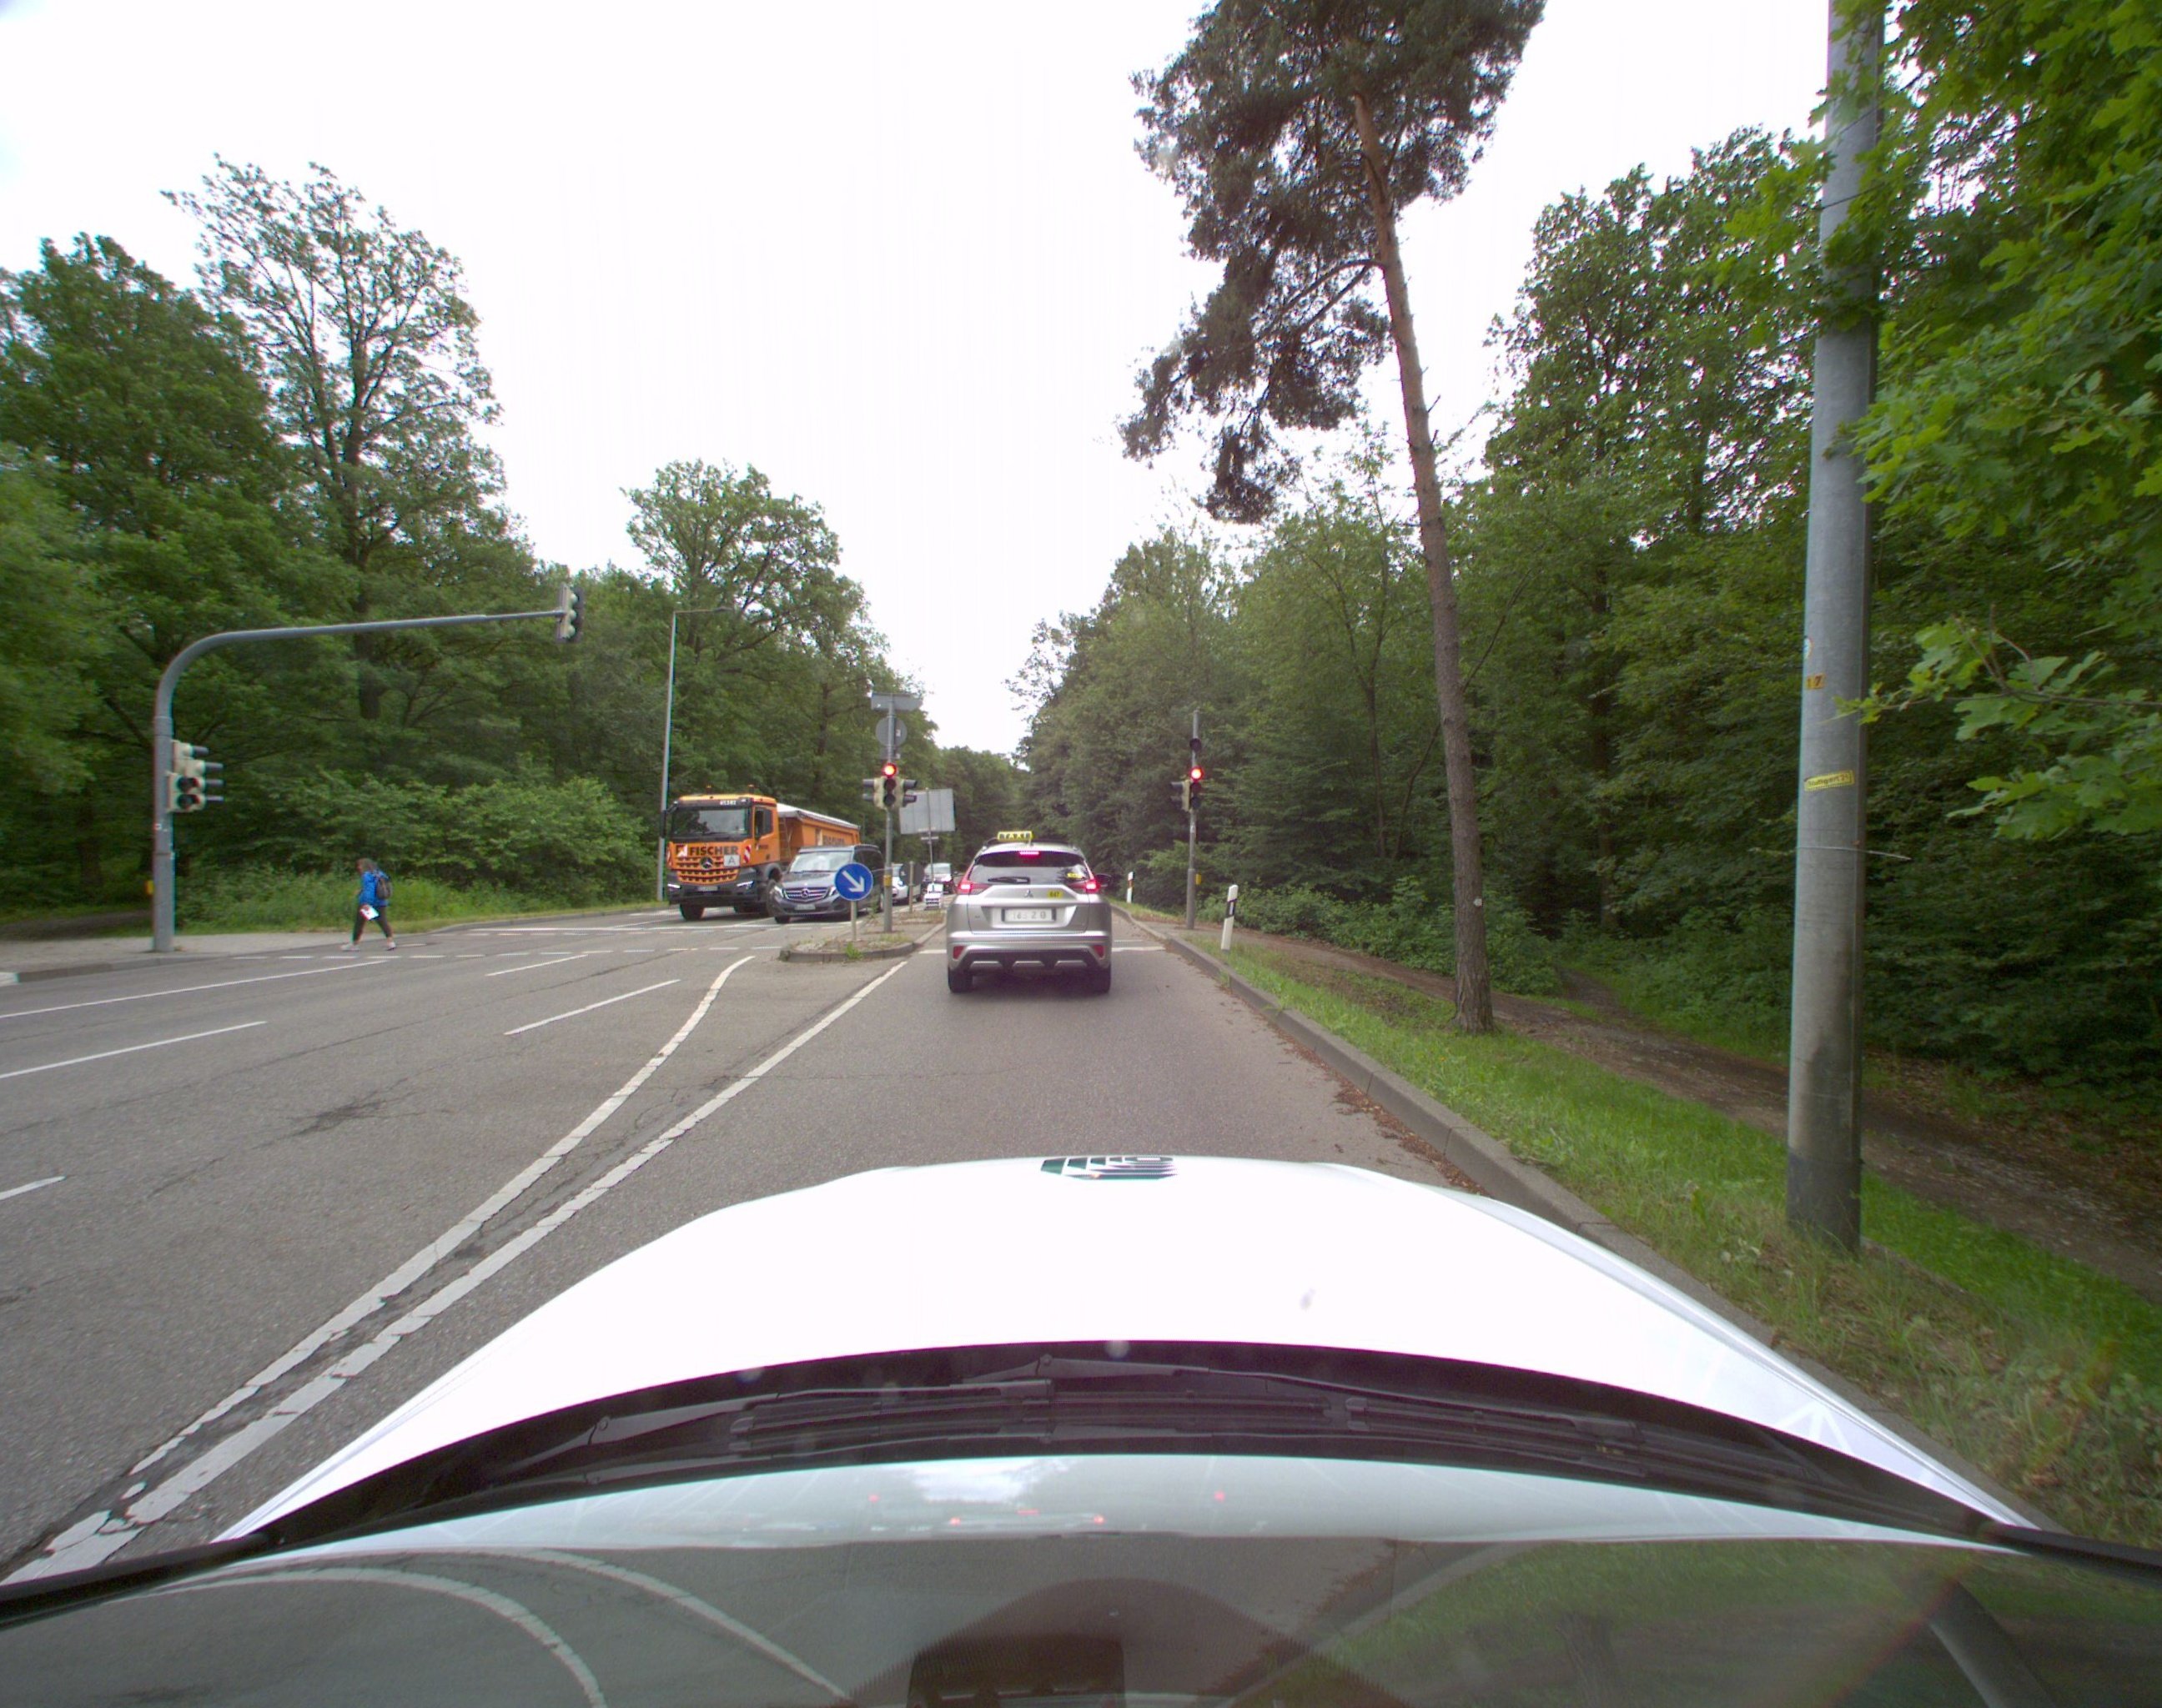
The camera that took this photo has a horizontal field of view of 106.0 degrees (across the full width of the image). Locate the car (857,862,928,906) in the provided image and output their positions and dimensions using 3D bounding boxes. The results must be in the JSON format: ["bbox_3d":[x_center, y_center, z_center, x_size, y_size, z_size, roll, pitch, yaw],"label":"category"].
[{"bbox_3d":[-6.532,1.006,28.582,1.607,1.321,3.720,-3,0,-1],"label":"car"}]

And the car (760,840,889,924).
[{"bbox_3d":[-6.576,0.684,21.494,1.989,1.894,4.834,-2,-1,-2],"label":"car"}]

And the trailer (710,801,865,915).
[{"bbox_3d":[-9.860,0.191,28.535,2.733,3.318,8.557,-1,-1,-4],"label":"trailer"}]

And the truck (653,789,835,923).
[{"bbox_3d":[-9.595,0.106,24.147,2.733,3.318,7.150,-1,-1,-4],"label":"truck"}]

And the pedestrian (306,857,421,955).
[{"bbox_3d":[-12.696,0.887,14.448,1.042,1.649,1.070,-1,0,5],"label":"pedestrian"}]

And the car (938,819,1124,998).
[{"bbox_3d":[-0.597,0.541,10.191,1.842,1.780,3.996,1,0,-3],"label":"car"}]

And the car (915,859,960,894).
[{"bbox_3d":[-6.958,1.075,39.788,1.809,1.508,3.714,-3,-1,-6],"label":"car"}]
